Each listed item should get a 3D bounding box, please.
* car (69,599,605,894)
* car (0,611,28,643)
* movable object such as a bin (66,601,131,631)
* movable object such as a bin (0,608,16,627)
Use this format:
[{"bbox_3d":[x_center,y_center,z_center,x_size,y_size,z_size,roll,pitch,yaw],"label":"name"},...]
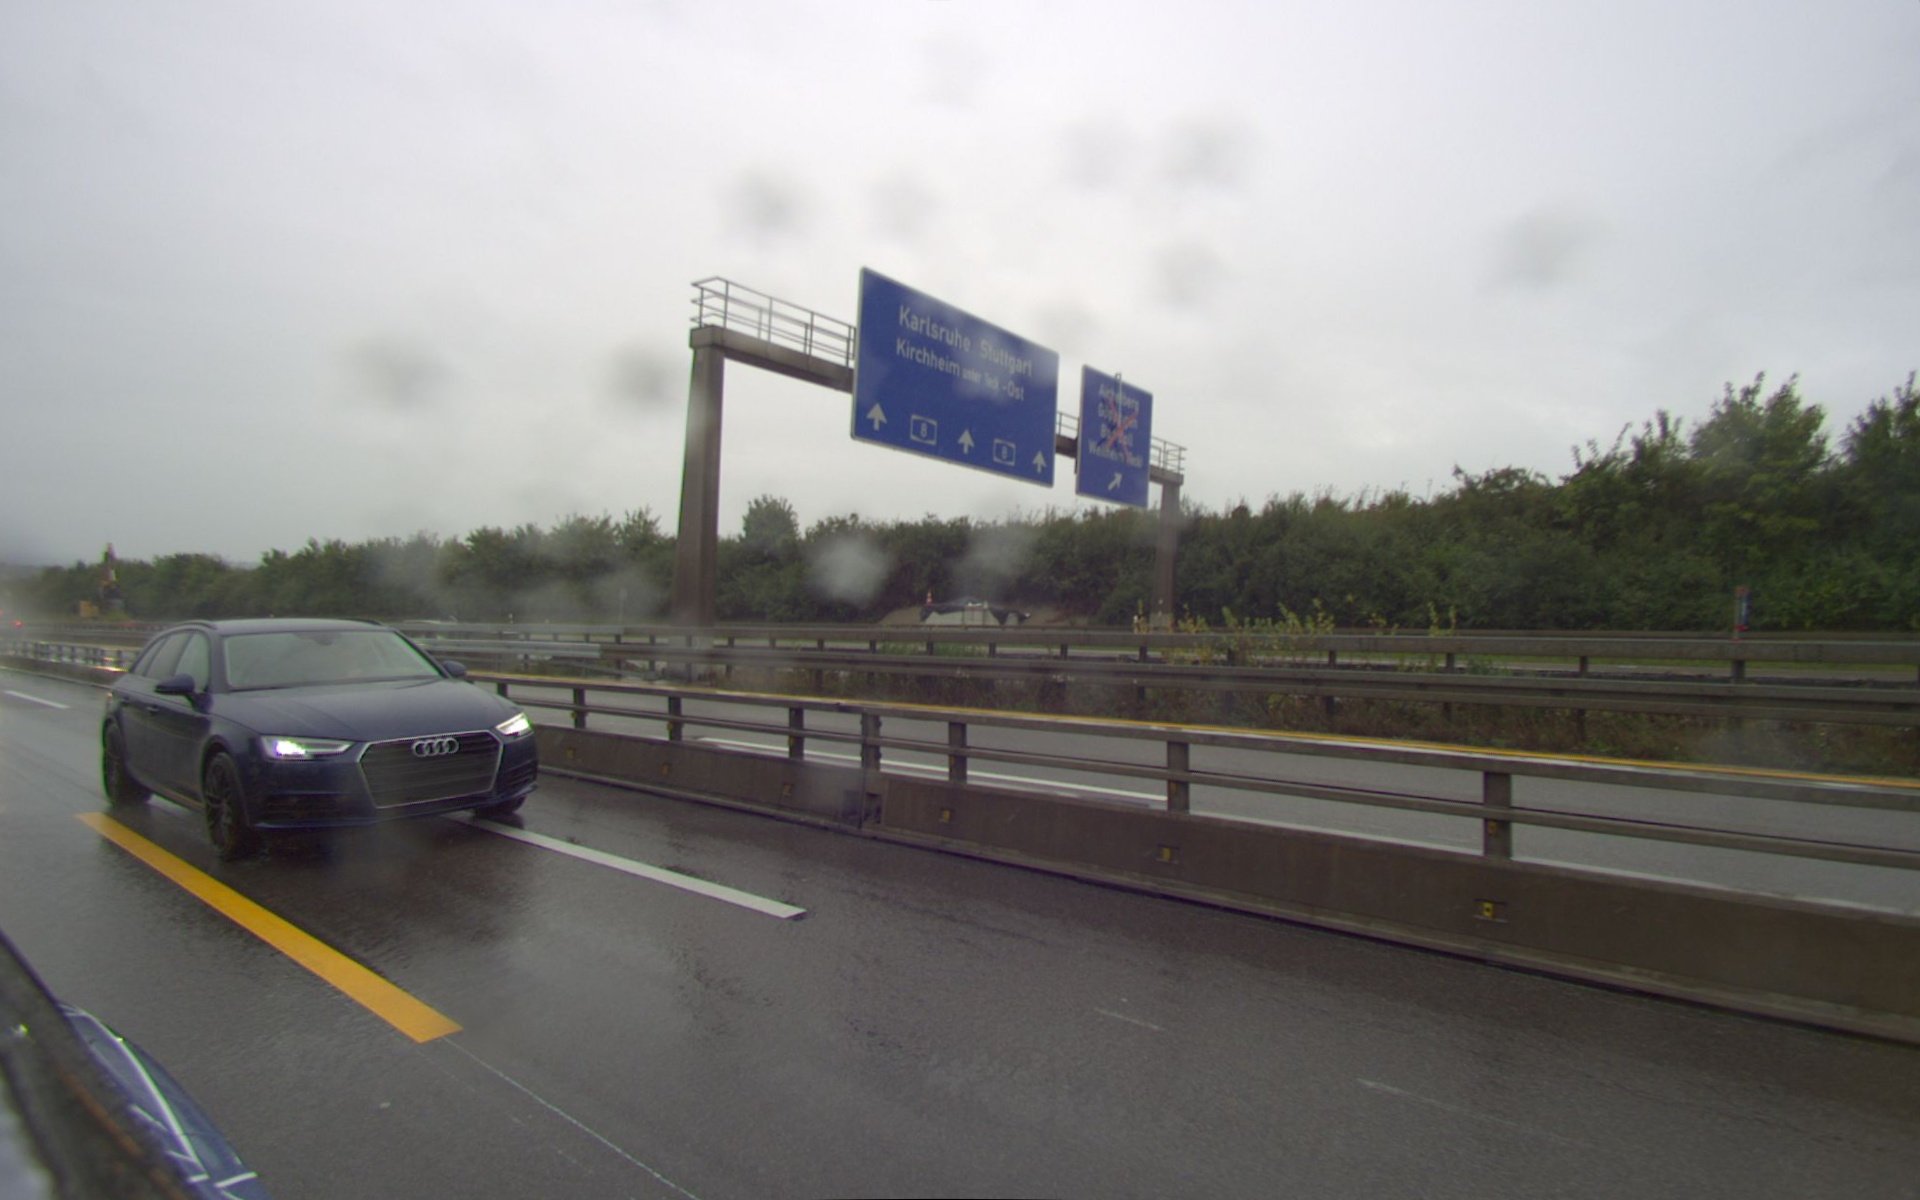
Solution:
[{"bbox_3d":[-4.787,0.778,7.477,4.626,1.509,1.974,-1,0,39],"label":"car"},{"bbox_3d":[-51.652,1.433,54.400,4.313,1.616,1.761,-1,0,40],"label":"car"},{"bbox_3d":[-85.644,1.598,100.582,6.321,2.819,3.729,-1,0,38],"label":"movable object such as a bin"},{"bbox_3d":[-119.341,2.183,124.505,5.083,2.312,3.413,-1,0,31],"label":"movable object such as a bin"}]
